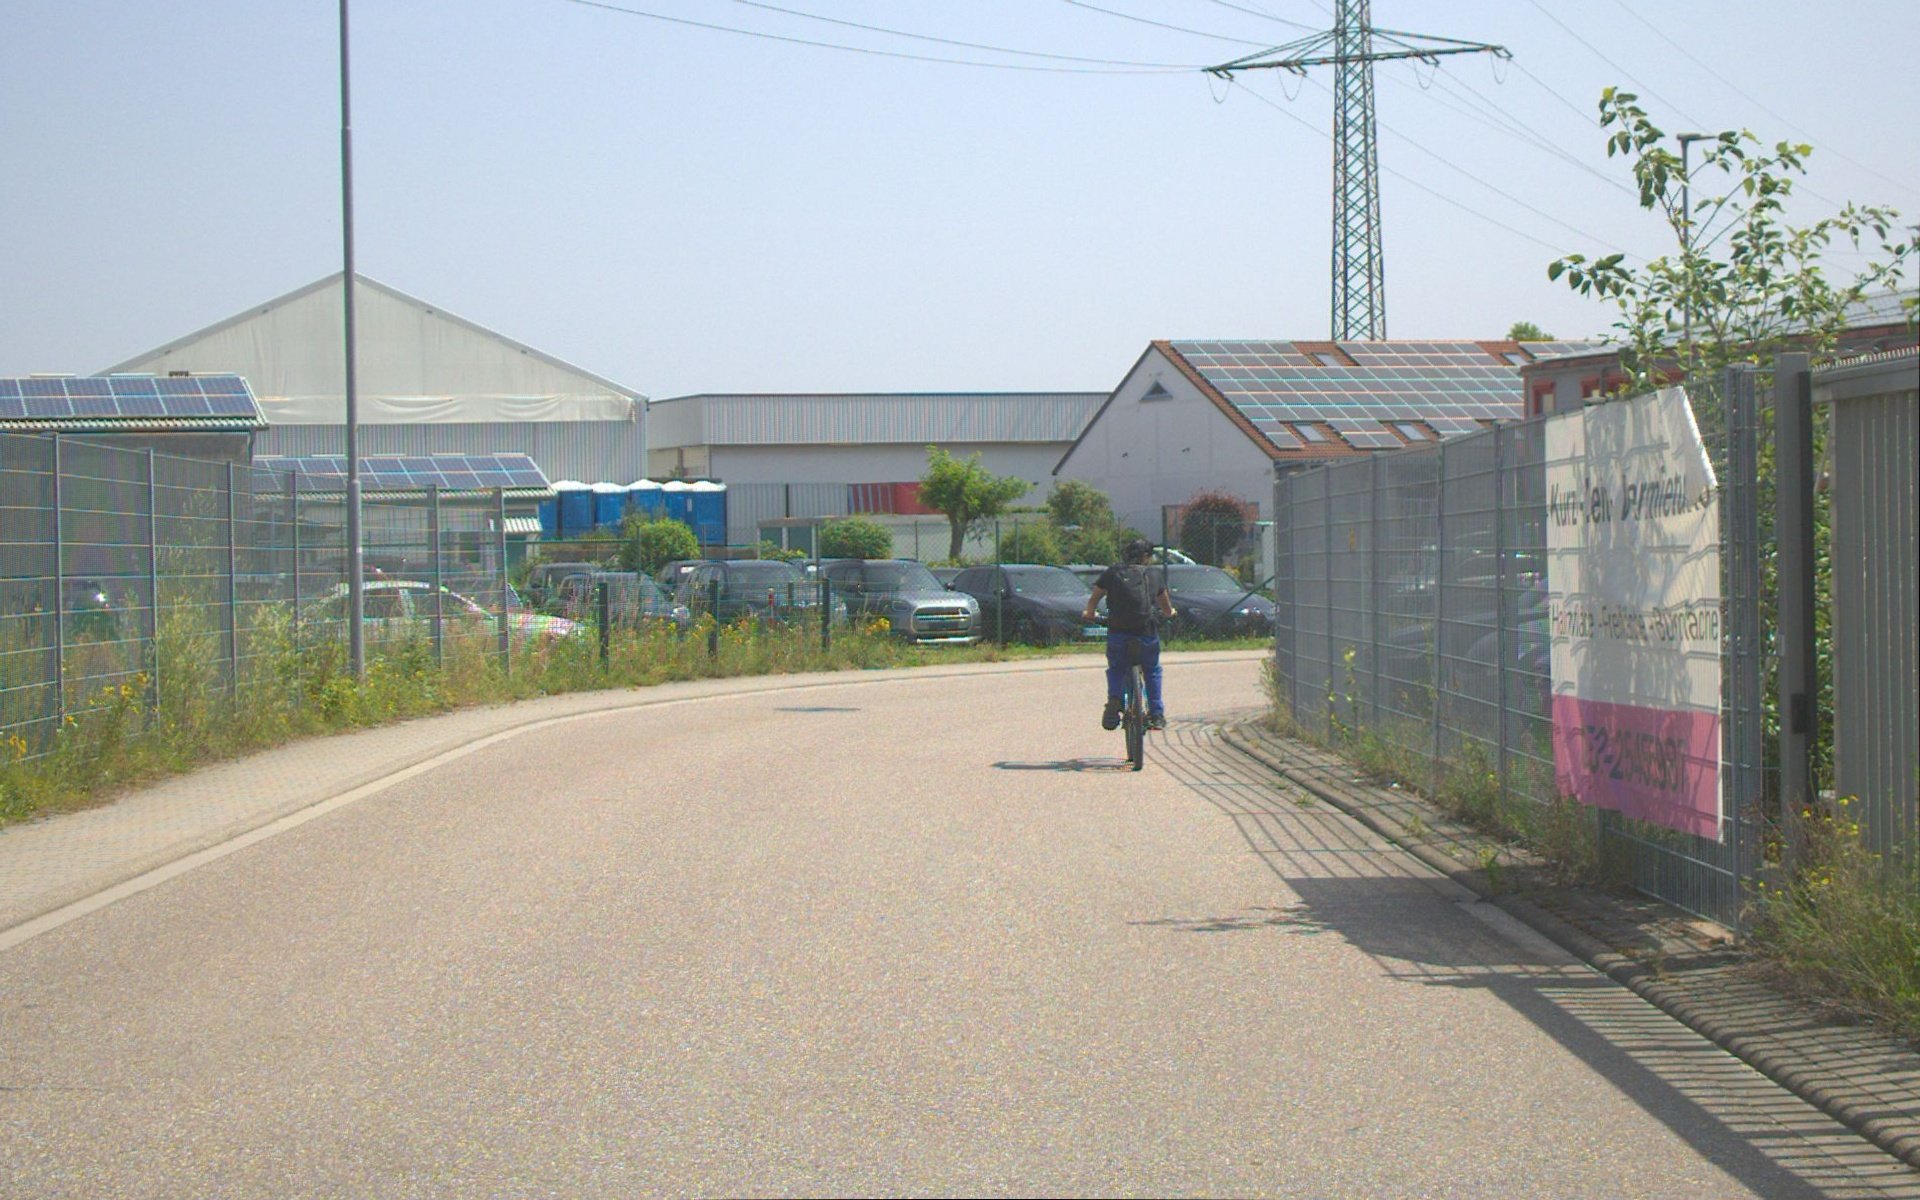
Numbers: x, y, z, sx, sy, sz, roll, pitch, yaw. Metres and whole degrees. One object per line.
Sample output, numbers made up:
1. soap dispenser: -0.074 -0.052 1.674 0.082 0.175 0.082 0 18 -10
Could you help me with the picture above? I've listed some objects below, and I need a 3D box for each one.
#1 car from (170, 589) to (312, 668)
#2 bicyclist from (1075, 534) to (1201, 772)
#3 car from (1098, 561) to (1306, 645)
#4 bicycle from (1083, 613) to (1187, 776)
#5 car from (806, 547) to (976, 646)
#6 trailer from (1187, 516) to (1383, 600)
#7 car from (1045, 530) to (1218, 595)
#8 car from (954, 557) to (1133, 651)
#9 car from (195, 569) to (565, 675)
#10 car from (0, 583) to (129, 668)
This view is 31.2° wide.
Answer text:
1. car: -12.667 0.480 60.436 1.862 1.294 3.442 -1 1 -22
2. bicyclist: 1.242 0.349 23.962 0.842 1.613 1.039 1 1 3
3. car: 4.268 0.026 61.421 1.995 1.430 4.667 -1 1 -20
4. bicycle: 1.222 0.637 24.004 0.685 1.048 1.901 1 1 3
5. car: -1.223 -0.085 59.219 1.862 1.638 3.635 -1 1 -20
6. trailer: 7.817 -1.027 82.862 4.447 1.938 1.714 -1 1 -4
7. car: 4.360 -0.966 87.688 3.986 1.593 1.877 -1 1 -18
8. car: 1.417 0.046 59.660 1.862 1.549 3.771 -1 1 -20
9. car: -7.641 0.262 45.247 4.546 1.302 1.869 -1 1 -19
10. car: -15.857 0.422 60.052 1.862 1.409 3.441 -1 1 -27
